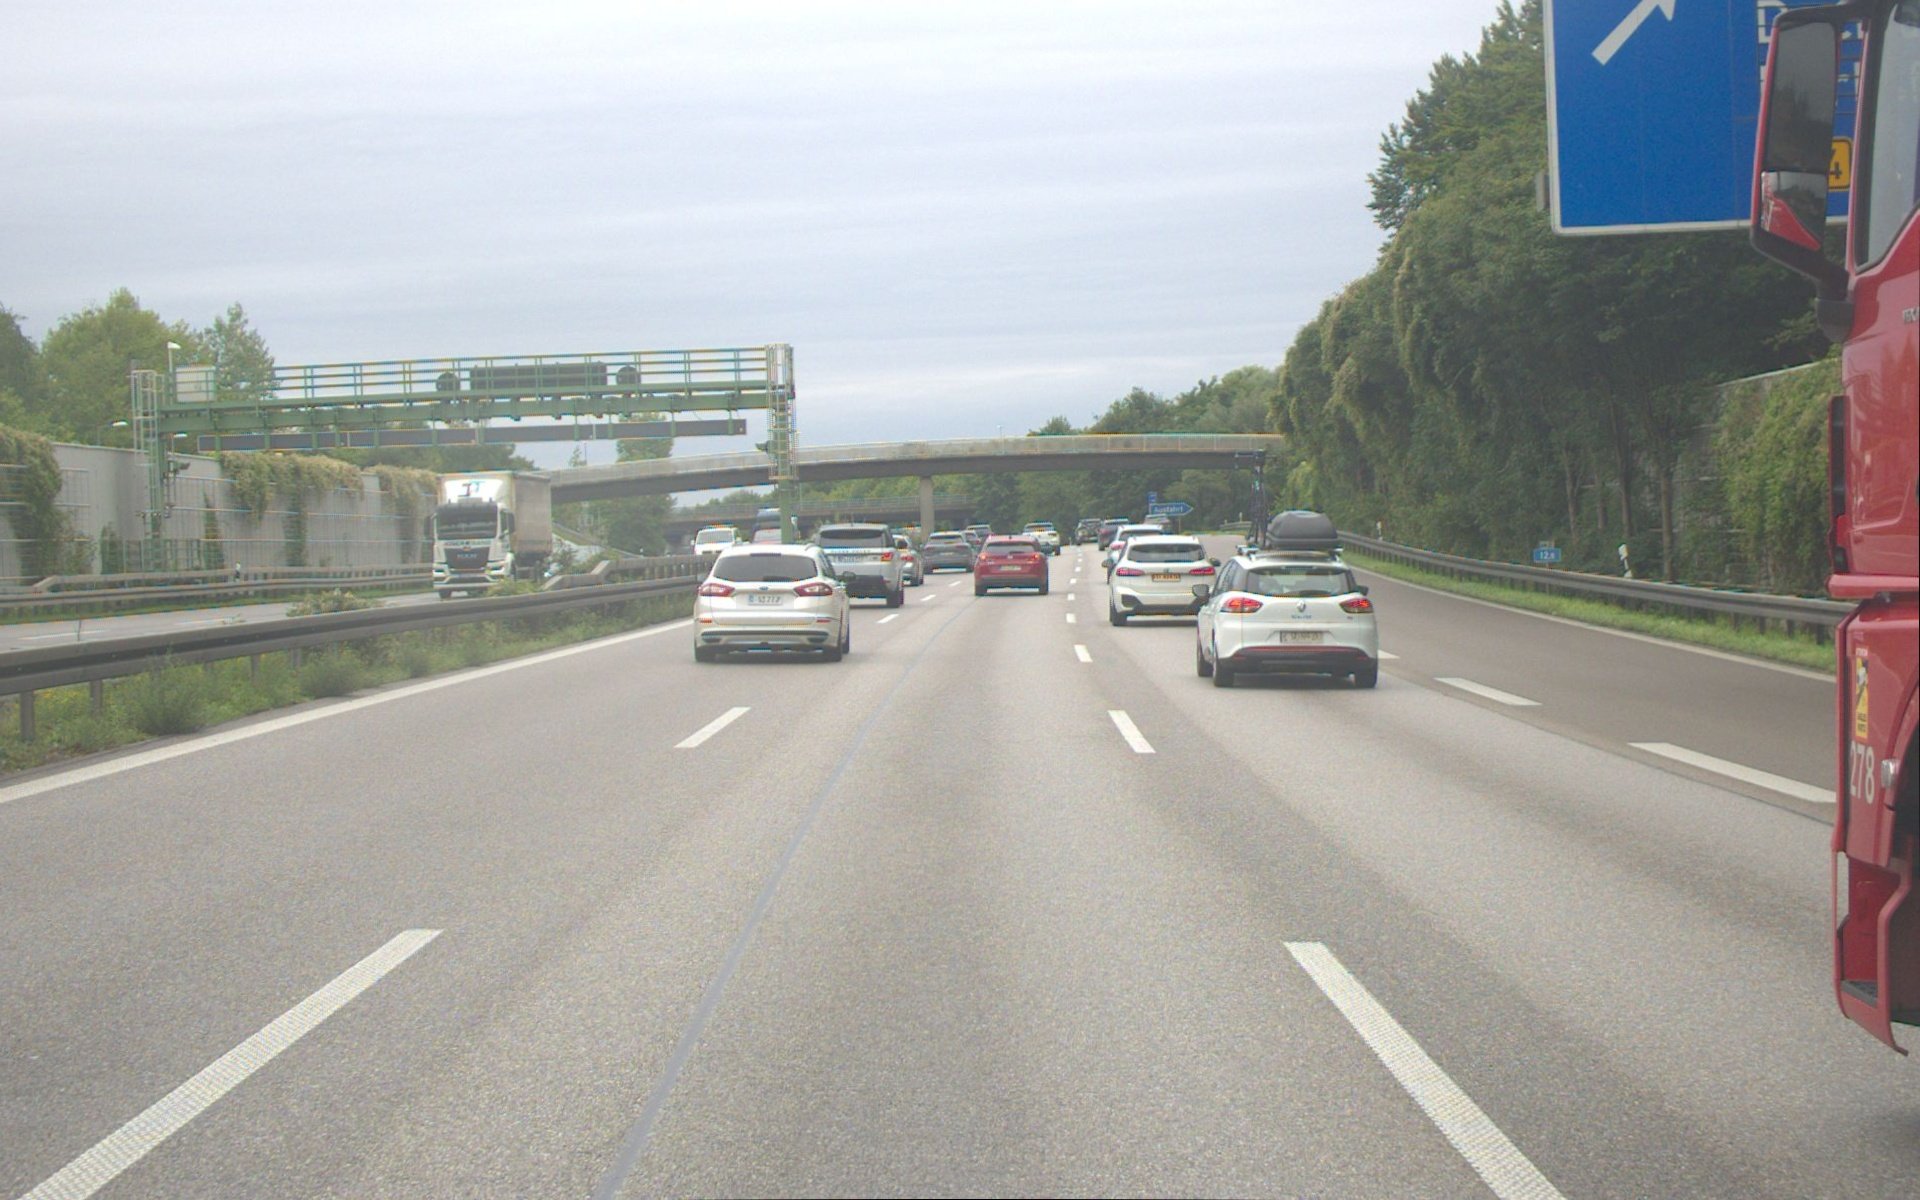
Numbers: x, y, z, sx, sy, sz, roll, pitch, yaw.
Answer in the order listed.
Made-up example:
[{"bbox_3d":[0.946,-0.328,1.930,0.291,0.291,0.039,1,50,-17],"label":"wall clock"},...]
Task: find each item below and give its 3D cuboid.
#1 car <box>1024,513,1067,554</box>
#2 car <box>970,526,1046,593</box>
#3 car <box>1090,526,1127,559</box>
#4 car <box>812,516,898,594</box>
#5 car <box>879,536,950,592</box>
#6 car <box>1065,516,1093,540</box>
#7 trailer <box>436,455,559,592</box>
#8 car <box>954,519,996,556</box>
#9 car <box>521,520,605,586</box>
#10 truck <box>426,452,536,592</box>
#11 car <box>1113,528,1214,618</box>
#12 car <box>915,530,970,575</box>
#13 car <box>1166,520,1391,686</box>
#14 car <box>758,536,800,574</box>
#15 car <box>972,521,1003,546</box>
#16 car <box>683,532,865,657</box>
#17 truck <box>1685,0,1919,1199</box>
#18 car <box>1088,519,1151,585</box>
[{"bbox_3d":[3.872,-2.976,154.767,1.790,1.773,3.871,-1,0,3],"label":"car"},{"bbox_3d":[1.199,-1.006,84.661,1.689,1.501,3.871,4,1,2],"label":"car"},{"bbox_3d":[7.055,-2.733,162.923,1.689,1.534,3.871,0,1,3],"label":"car"},{"bbox_3d":[-2.216,-0.985,73.028,1.689,1.501,3.872,4,1,-1],"label":"car"},{"bbox_3d":[-1.276,-1.048,98.007,1.689,1.501,3.871,-2,1,3],"label":"car"},{"bbox_3d":[7.284,-4.408,210.750,1.689,1.417,4.072,0,1,1],"label":"car"},{"bbox_3d":[-15.604,-2.576,116.644,2.668,4.429,8.573,-1,1,2],"label":"trailer"},{"bbox_3d":[0.690,-2.821,155.639,1.689,1.634,3.871,-1,0,3],"label":"car"},{"bbox_3d":[-12.512,-1.461,108.583,1.993,2.007,4.909,0,0,1],"label":"car"},{"bbox_3d":[-15.721,-2.551,113.040,2.649,4.458,5.283,-1,1,2],"label":"truck"},{"bbox_3d":[3.500,-0.459,59.564,1.689,1.501,3.871,0,0,3],"label":"car"},{"bbox_3d":[-0.599,-1.676,120.251,1.689,1.501,3.871,1,1,3],"label":"car"},{"bbox_3d":[3.410,0.018,37.690,1.816,1.620,5.030,3,0,-1],"label":"car"},{"bbox_3d":[-9.788,-2.413,185.951,1.993,2.007,4.000,0,0,1],"label":"car"},{"bbox_3d":[1.592,-3.834,198.660,1.689,1.417,3.871,0,1,1],"label":"car"},{"bbox_3d":[-2.314,-0.094,44.060,1.892,1.499,5.030,1,1,2],"label":"car"},{"bbox_3d":[3.570,-0.537,7.102,2.695,3.899,6.557,0,1,-1],"label":"truck"},{"bbox_3d":[4.442,-1.332,95.452,1.689,1.773,3.871,0,1,3],"label":"car"}]
